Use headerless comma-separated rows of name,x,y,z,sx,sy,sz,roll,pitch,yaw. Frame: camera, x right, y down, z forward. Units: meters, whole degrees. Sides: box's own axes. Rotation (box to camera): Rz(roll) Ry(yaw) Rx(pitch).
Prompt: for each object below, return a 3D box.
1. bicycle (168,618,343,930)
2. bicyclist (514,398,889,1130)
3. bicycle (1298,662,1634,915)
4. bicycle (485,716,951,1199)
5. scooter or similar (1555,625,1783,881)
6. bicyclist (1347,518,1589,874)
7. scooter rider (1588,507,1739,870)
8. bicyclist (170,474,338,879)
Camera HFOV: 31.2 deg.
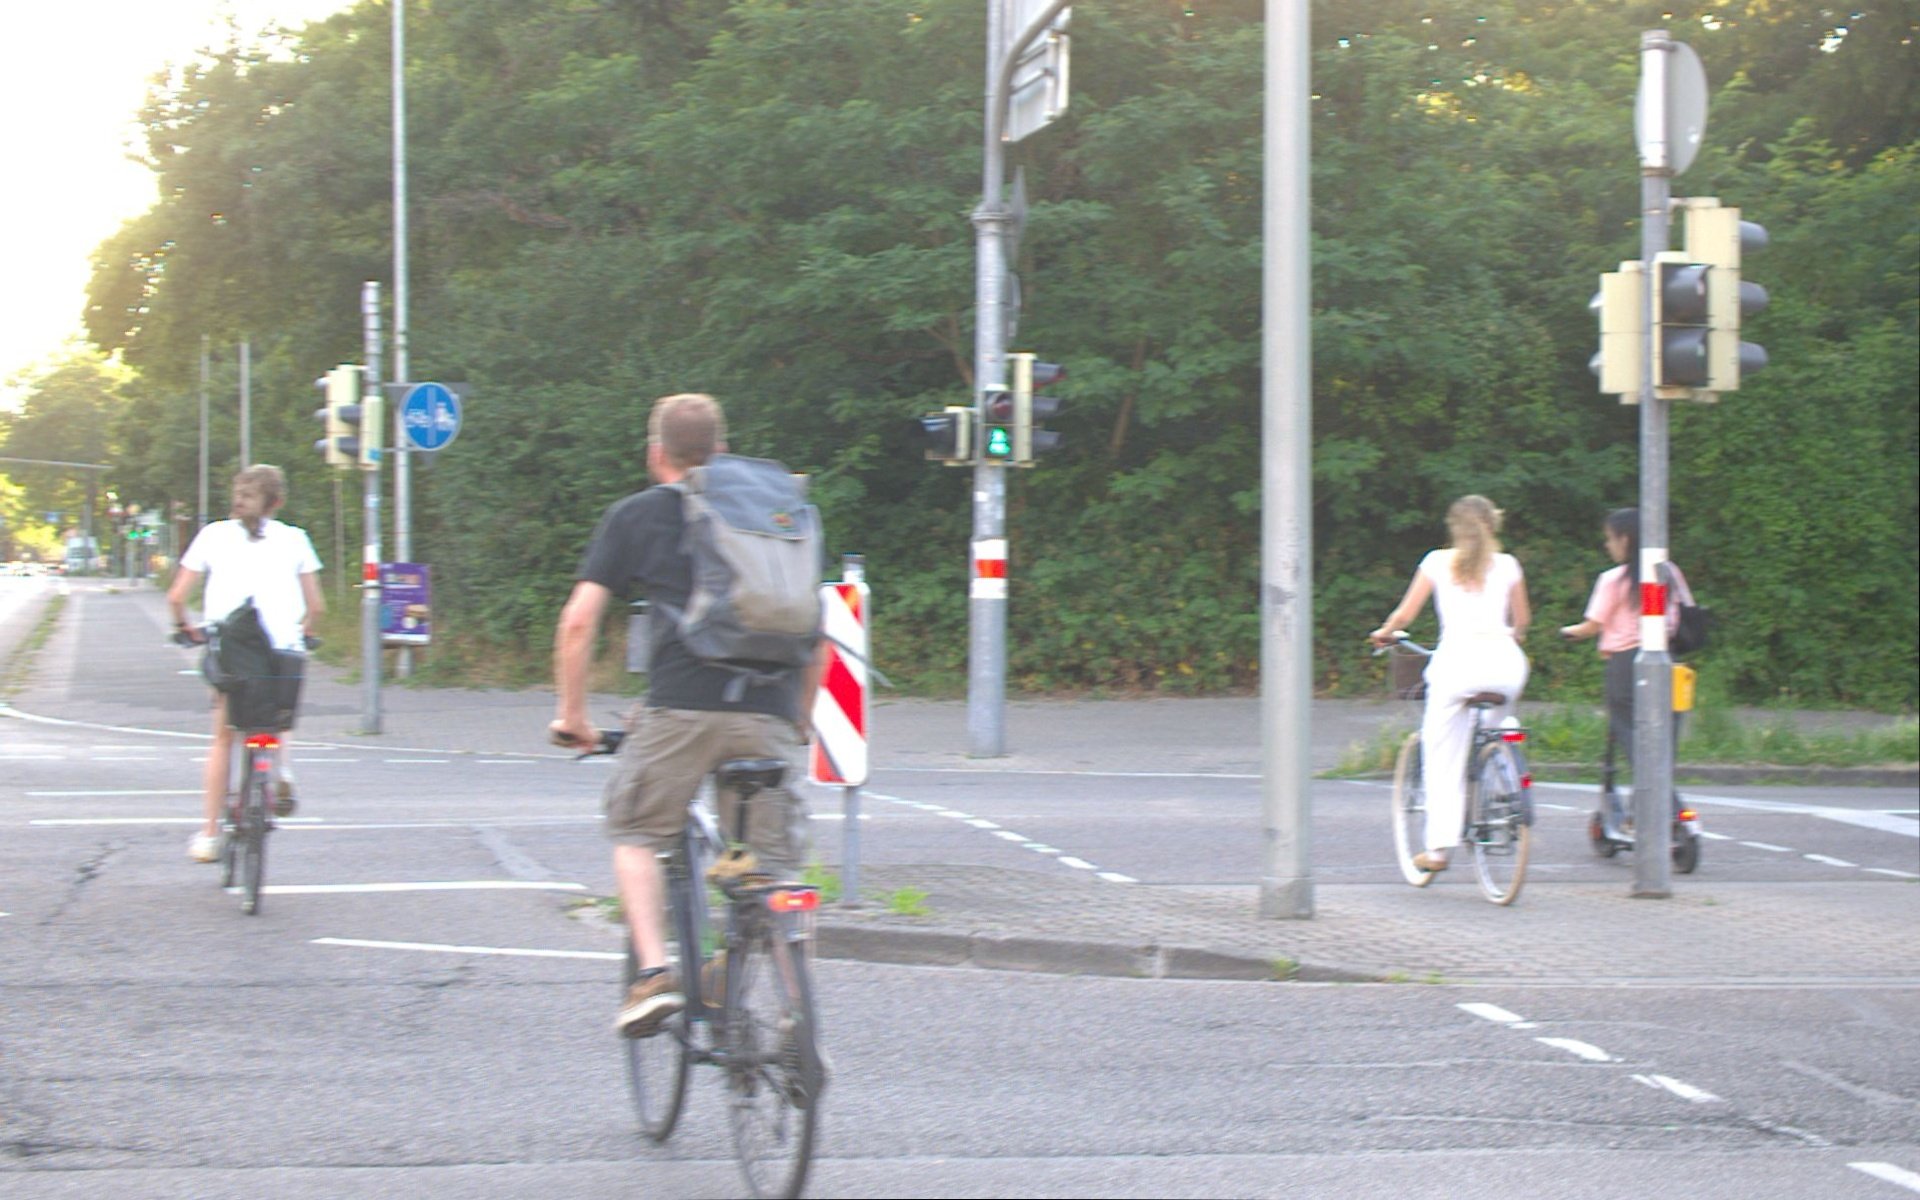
bicycle,-2.878,0.665,13.931,0.613,1.134,1.885,1,1,-13
bicyclist,-0.639,0.375,8.288,0.698,1.661,0.798,1,0,-17
bicycle,2.190,0.798,15.180,0.770,1.003,2.017,1,0,-13
bicycle,-0.632,0.853,8.239,0.698,1.059,1.826,1,0,-17
scooter or similar,3.467,0.728,16.922,0.561,1.185,1.422,1,0,-12
bicyclist,2.216,0.406,15.082,0.759,1.512,0.857,1,1,-13
scooter rider,3.463,0.428,16.945,0.565,1.760,0.505,0,0,-12
bicyclist,-2.876,0.299,13.957,0.603,1.580,0.910,1,0,-13
